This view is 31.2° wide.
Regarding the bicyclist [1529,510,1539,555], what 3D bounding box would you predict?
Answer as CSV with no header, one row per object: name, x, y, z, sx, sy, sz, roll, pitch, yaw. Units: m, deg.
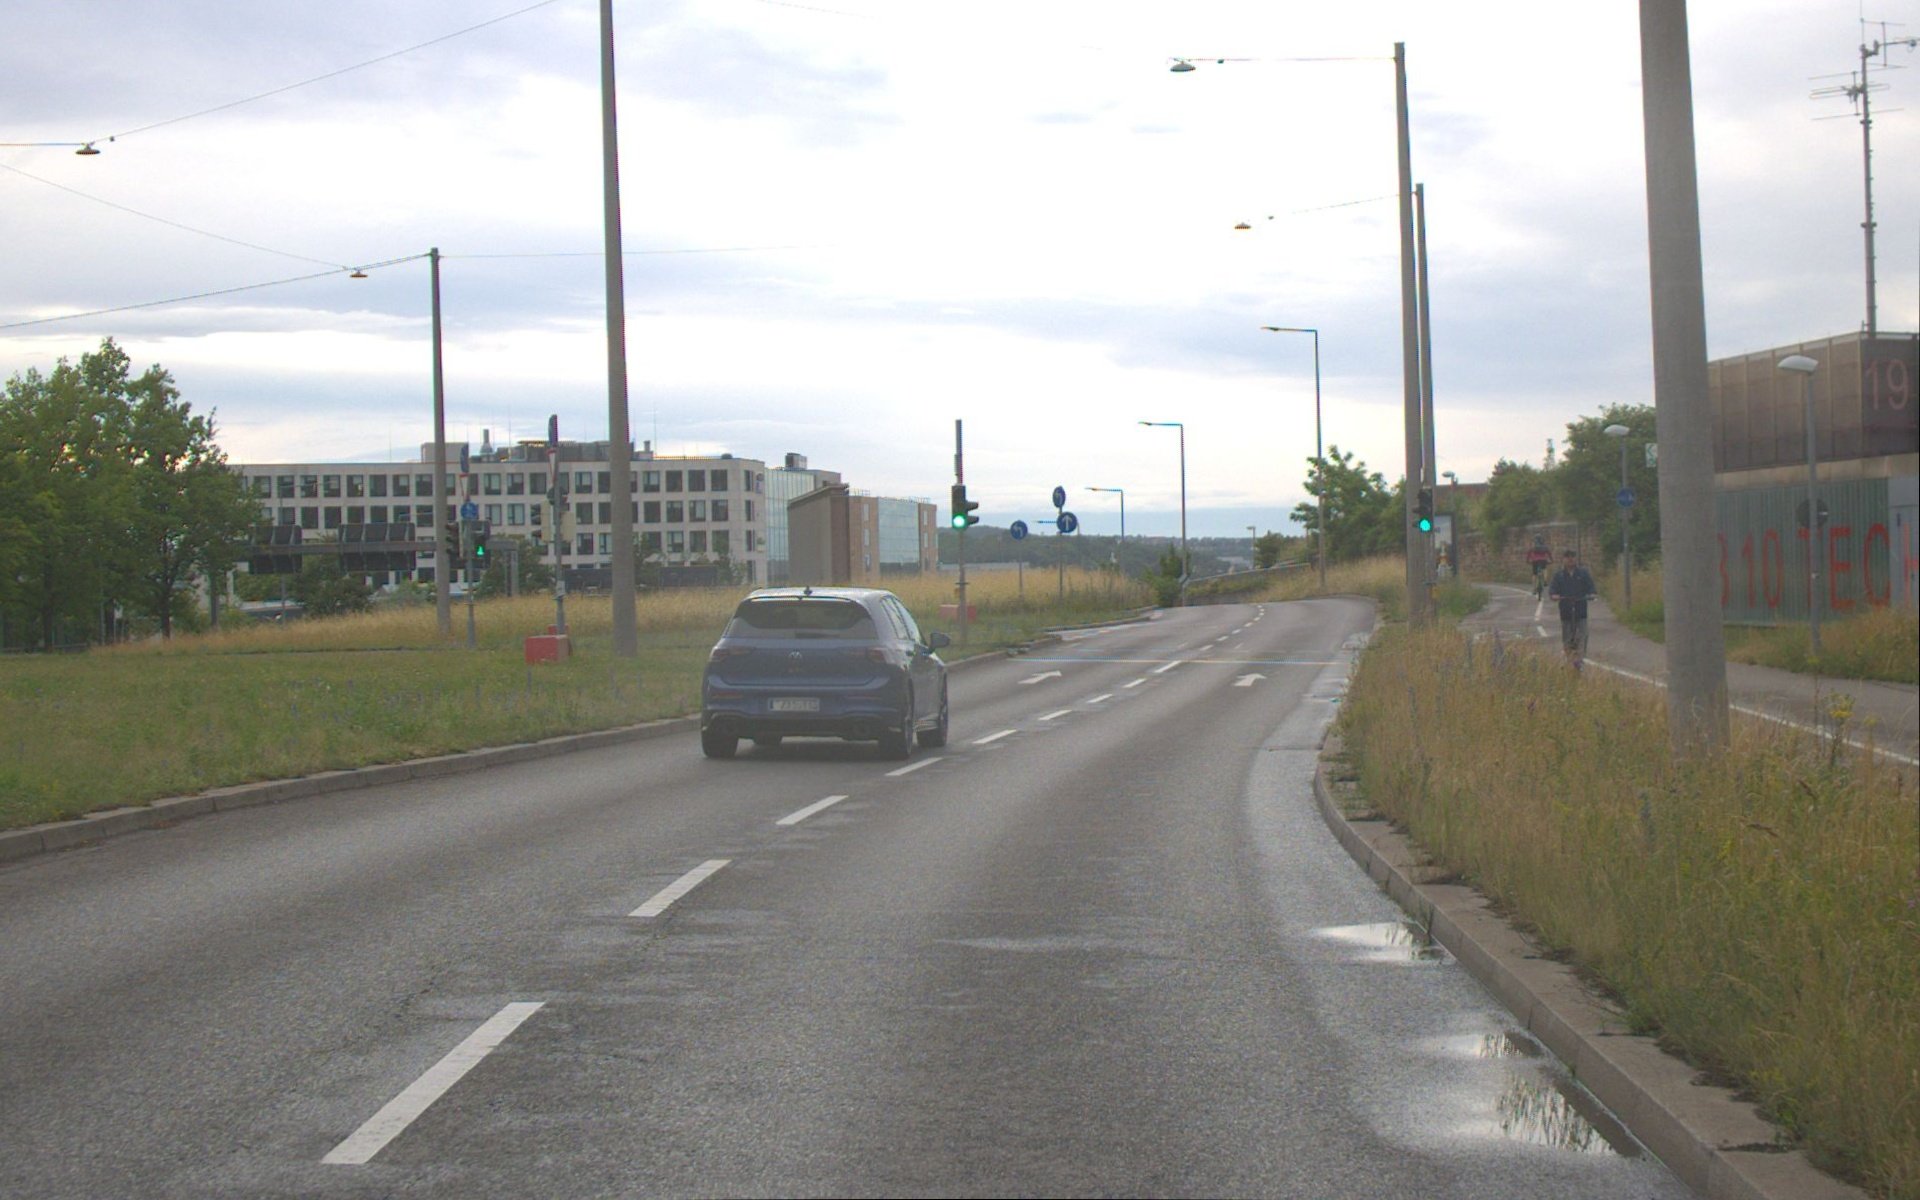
bicyclist,15.171,-1.791,90.818,0.265,1.192,0.315,0,1,9

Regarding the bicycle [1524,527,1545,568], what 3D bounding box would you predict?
bicycle,15.188,-1.395,90.848,0.551,1.064,0.615,0,1,9

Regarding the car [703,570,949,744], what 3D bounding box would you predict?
car,-1.109,0.491,30.173,1.838,1.389,3.999,-1,-1,2

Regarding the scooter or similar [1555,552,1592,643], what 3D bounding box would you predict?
scooter or similar,8.277,-0.036,46.394,0.401,1.192,1.114,2,1,6

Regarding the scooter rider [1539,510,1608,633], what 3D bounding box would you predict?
scooter rider,8.312,-0.381,46.577,0.806,1.623,0.828,-2,0,6
